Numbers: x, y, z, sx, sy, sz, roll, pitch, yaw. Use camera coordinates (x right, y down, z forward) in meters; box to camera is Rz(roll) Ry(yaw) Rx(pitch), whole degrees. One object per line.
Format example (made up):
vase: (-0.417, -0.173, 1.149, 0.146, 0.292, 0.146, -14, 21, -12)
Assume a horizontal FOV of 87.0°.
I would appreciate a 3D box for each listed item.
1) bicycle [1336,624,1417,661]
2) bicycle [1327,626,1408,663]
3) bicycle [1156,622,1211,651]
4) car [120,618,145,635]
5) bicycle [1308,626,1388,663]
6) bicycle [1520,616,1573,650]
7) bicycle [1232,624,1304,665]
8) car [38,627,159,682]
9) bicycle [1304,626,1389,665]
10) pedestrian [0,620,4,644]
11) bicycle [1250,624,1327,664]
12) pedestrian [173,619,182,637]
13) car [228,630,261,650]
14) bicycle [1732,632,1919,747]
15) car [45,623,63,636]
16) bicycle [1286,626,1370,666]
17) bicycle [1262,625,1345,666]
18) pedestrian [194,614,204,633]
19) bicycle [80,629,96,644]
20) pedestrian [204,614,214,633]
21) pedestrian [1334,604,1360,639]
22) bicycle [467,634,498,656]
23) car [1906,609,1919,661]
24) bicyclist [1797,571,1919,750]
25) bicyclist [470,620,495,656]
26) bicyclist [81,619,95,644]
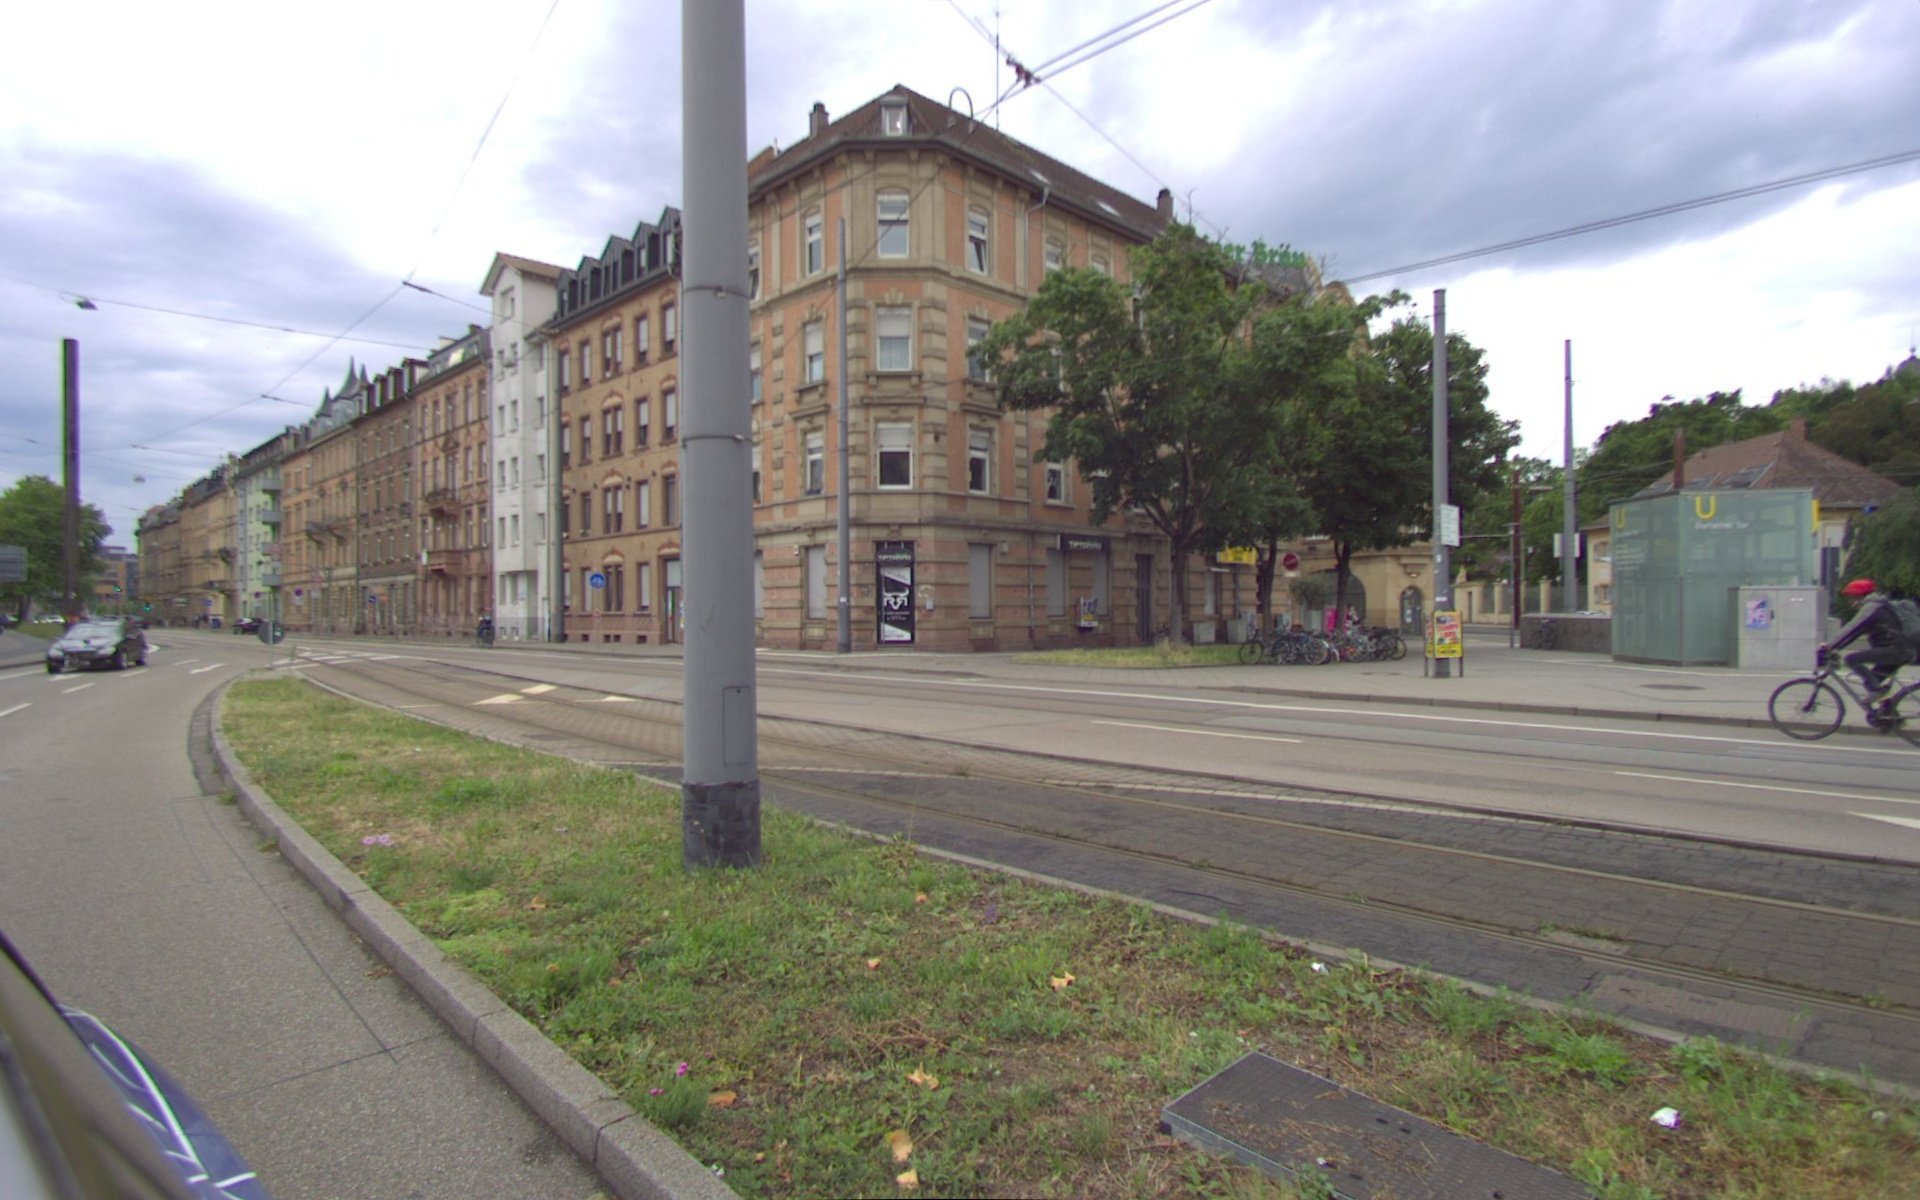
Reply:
bicycle: (12.455, 1.250, 30.344, 0.677, 1.046, 2.226, 0, -1, -34)
bicycle: (11.756, 1.266, 29.281, 0.575, 0.994, 2.226, 0, -1, -34)
bicycle: (7.592, 1.218, 34.465, 0.651, 0.921, 1.995, 0, 0, -31)
car: (-86.640, 2.766, 105.920, 1.776, 1.652, 4.234, 0, -1, -43)
bicycle: (10.975, 1.237, 28.688, 0.491, 0.994, 2.226, 0, -1, -34)
bicycle: (20.531, 1.121, 35.458, 0.731, 1.123, 2.357, -1, -1, 8)
bicycle: (7.951, 1.135, 26.216, 0.492, 0.994, 1.873, 0, -1, -36)
car: (-25.338, 1.546, 29.929, 1.686, 1.432, 4.083, 0, -1, -25)
bicycle: (10.683, 1.246, 28.054, 0.600, 0.994, 2.226, 0, -1, -34)
pedestrian: (-72.878, 2.428, 76.557, 0.858, 1.868, 0.706, 0, -1, -44)
bicycle: (8.603, 1.145, 26.585, 0.513, 0.994, 2.043, 0, -1, -34)
pedestrian: (-89.224, 3.214, 115.407, 0.803, 2.029, 0.734, 0, -1, -44)
car: (-58.586, 3.261, 82.802, 1.826, 1.491, 3.833, 0, -1, -41)
bicycle: (10.168, 0.975, 11.412, 2.235, 1.217, 0.814, -2, -2, 45)
car: (-126.553, 4.118, 141.316, 1.776, 1.652, 4.234, 0, -1, -43)
bicycle: (9.828, 1.208, 27.133, 0.491, 0.994, 2.226, 0, -1, -34)
bicycle: (9.083, 1.181, 26.868, 0.472, 1.014, 2.226, 0, -1, -34)
pedestrian: (-82.160, 2.525, 109.210, 0.799, 2.029, 0.701, 0, -1, -44)
bicycle: (-62.731, 2.603, 72.796, 0.716, 1.016, 2.181, 0, -1, -37)
pedestrian: (-82.512, 2.546, 111.237, 0.799, 2.029, 0.878, 0, -1, -44)
pedestrian: (19.687, 1.099, 51.445, 0.937, 1.735, 0.848, 0, -1, -41)
bicycle: (-20.505, 1.918, 43.421, 1.719, 0.922, 0.599, -1, -1, 42)
car: (27.838, 0.967, 26.894, 1.675, 1.460, 4.138, -1, 0, 4)
bicyclist: (10.174, 0.661, 11.407, 1.049, 1.906, 0.820, -2, -3, 44)
bicyclist: (-20.473, 1.603, 43.388, 0.942, 1.505, 0.654, -1, -1, 43)
bicyclist: (-62.763, 2.229, 72.856, 0.719, 1.770, 0.912, 0, -1, -38)
